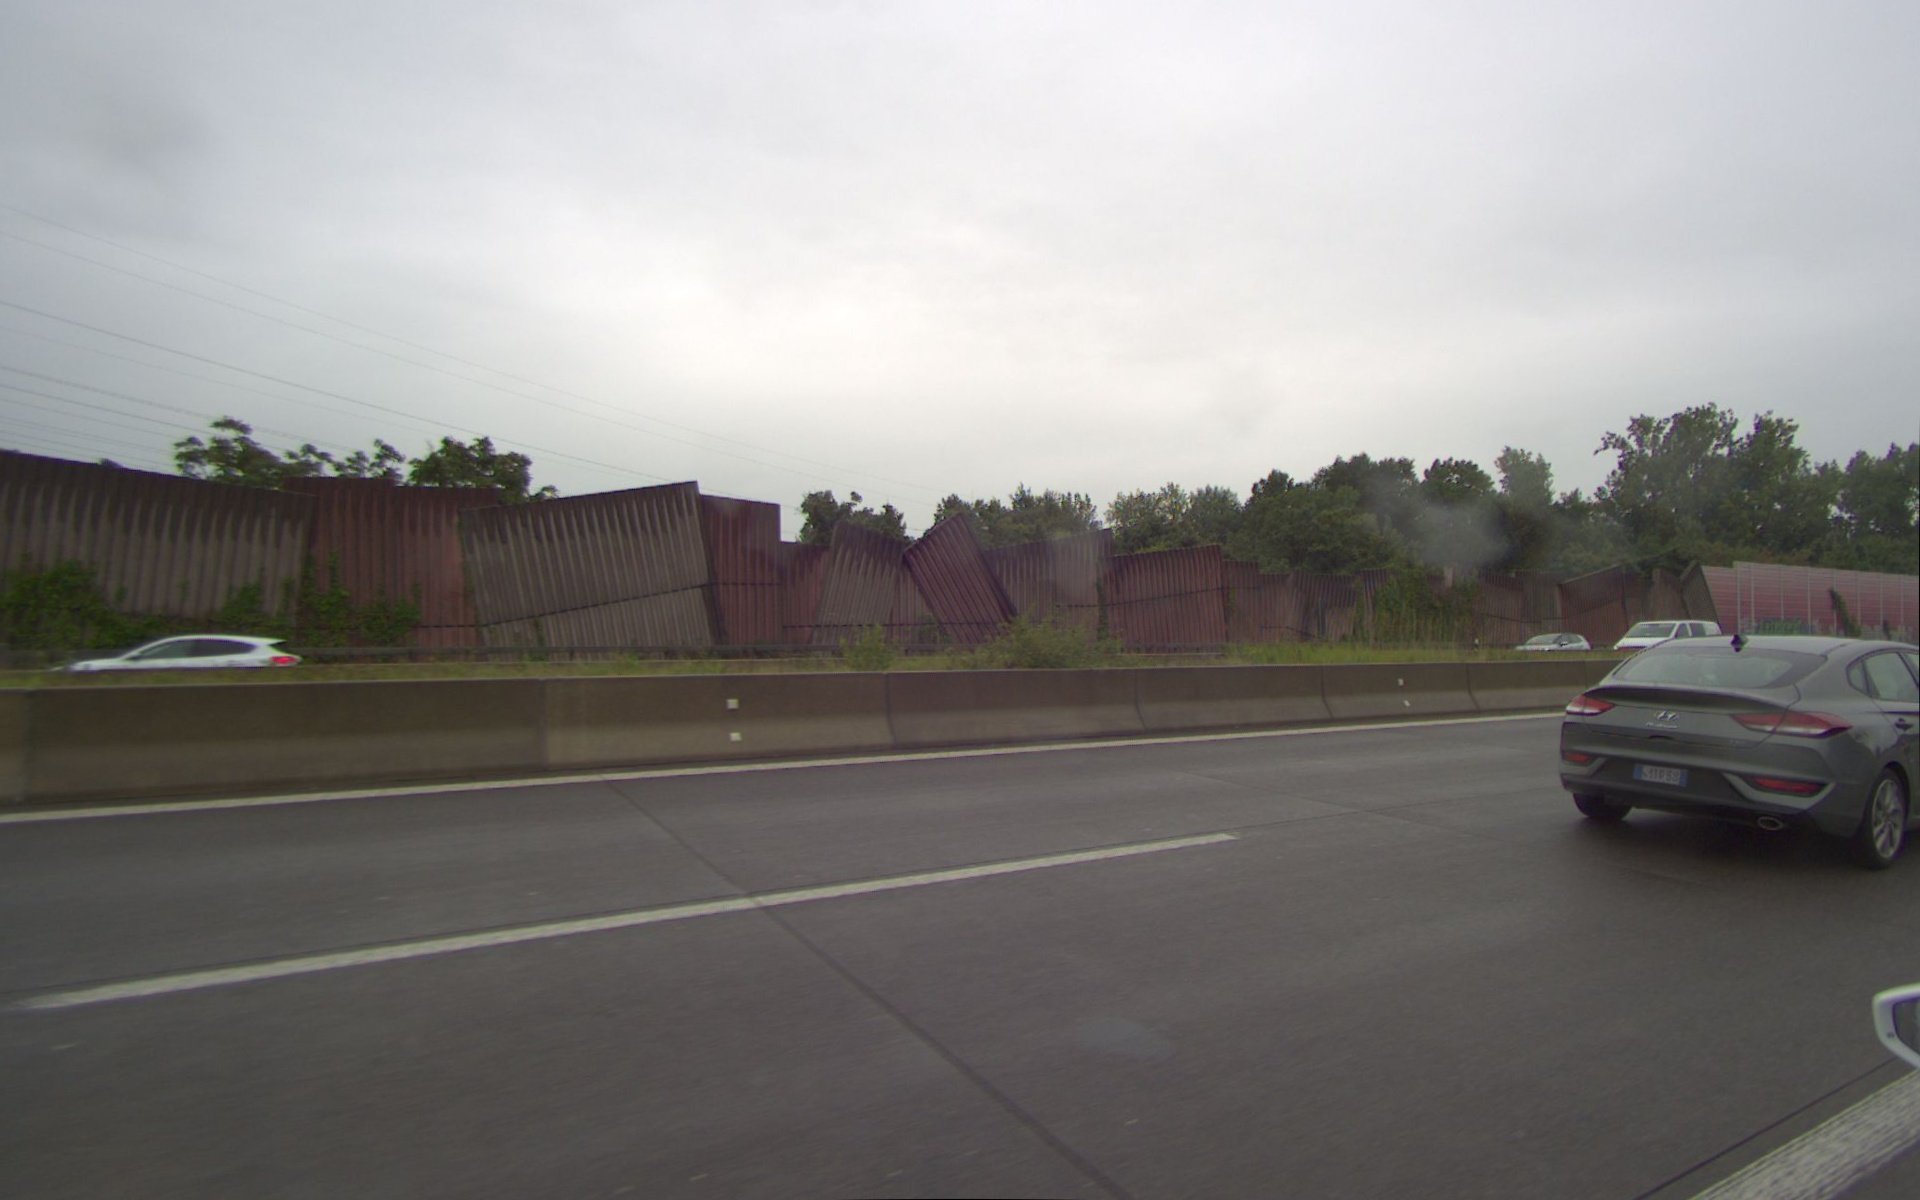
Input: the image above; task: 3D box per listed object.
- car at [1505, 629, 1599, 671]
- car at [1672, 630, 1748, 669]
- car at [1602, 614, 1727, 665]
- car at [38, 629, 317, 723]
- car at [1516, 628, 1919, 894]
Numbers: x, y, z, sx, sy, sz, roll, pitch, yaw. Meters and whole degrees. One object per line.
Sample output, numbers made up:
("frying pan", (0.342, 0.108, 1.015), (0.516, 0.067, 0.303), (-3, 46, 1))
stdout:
("car", (27.251, 2.274, 46.209), (4.241, 1.808, 1.983), (1, -1, -31))
("car", (41.705, 2.741, 55.825), (3.952, 2.040, 1.984), (1, -1, -30))
("car", (26.797, 1.489, 38.167), (5.150, 1.808, 1.983), (1, -1, -31))
("car", (-16.205, 1.518, 21.156), (4.345, 1.762, 1.984), (1, -1, -30))
("car", (6.388, 0.958, 7.518), (4.772, 1.421, 1.717), (1, 0, -31))
